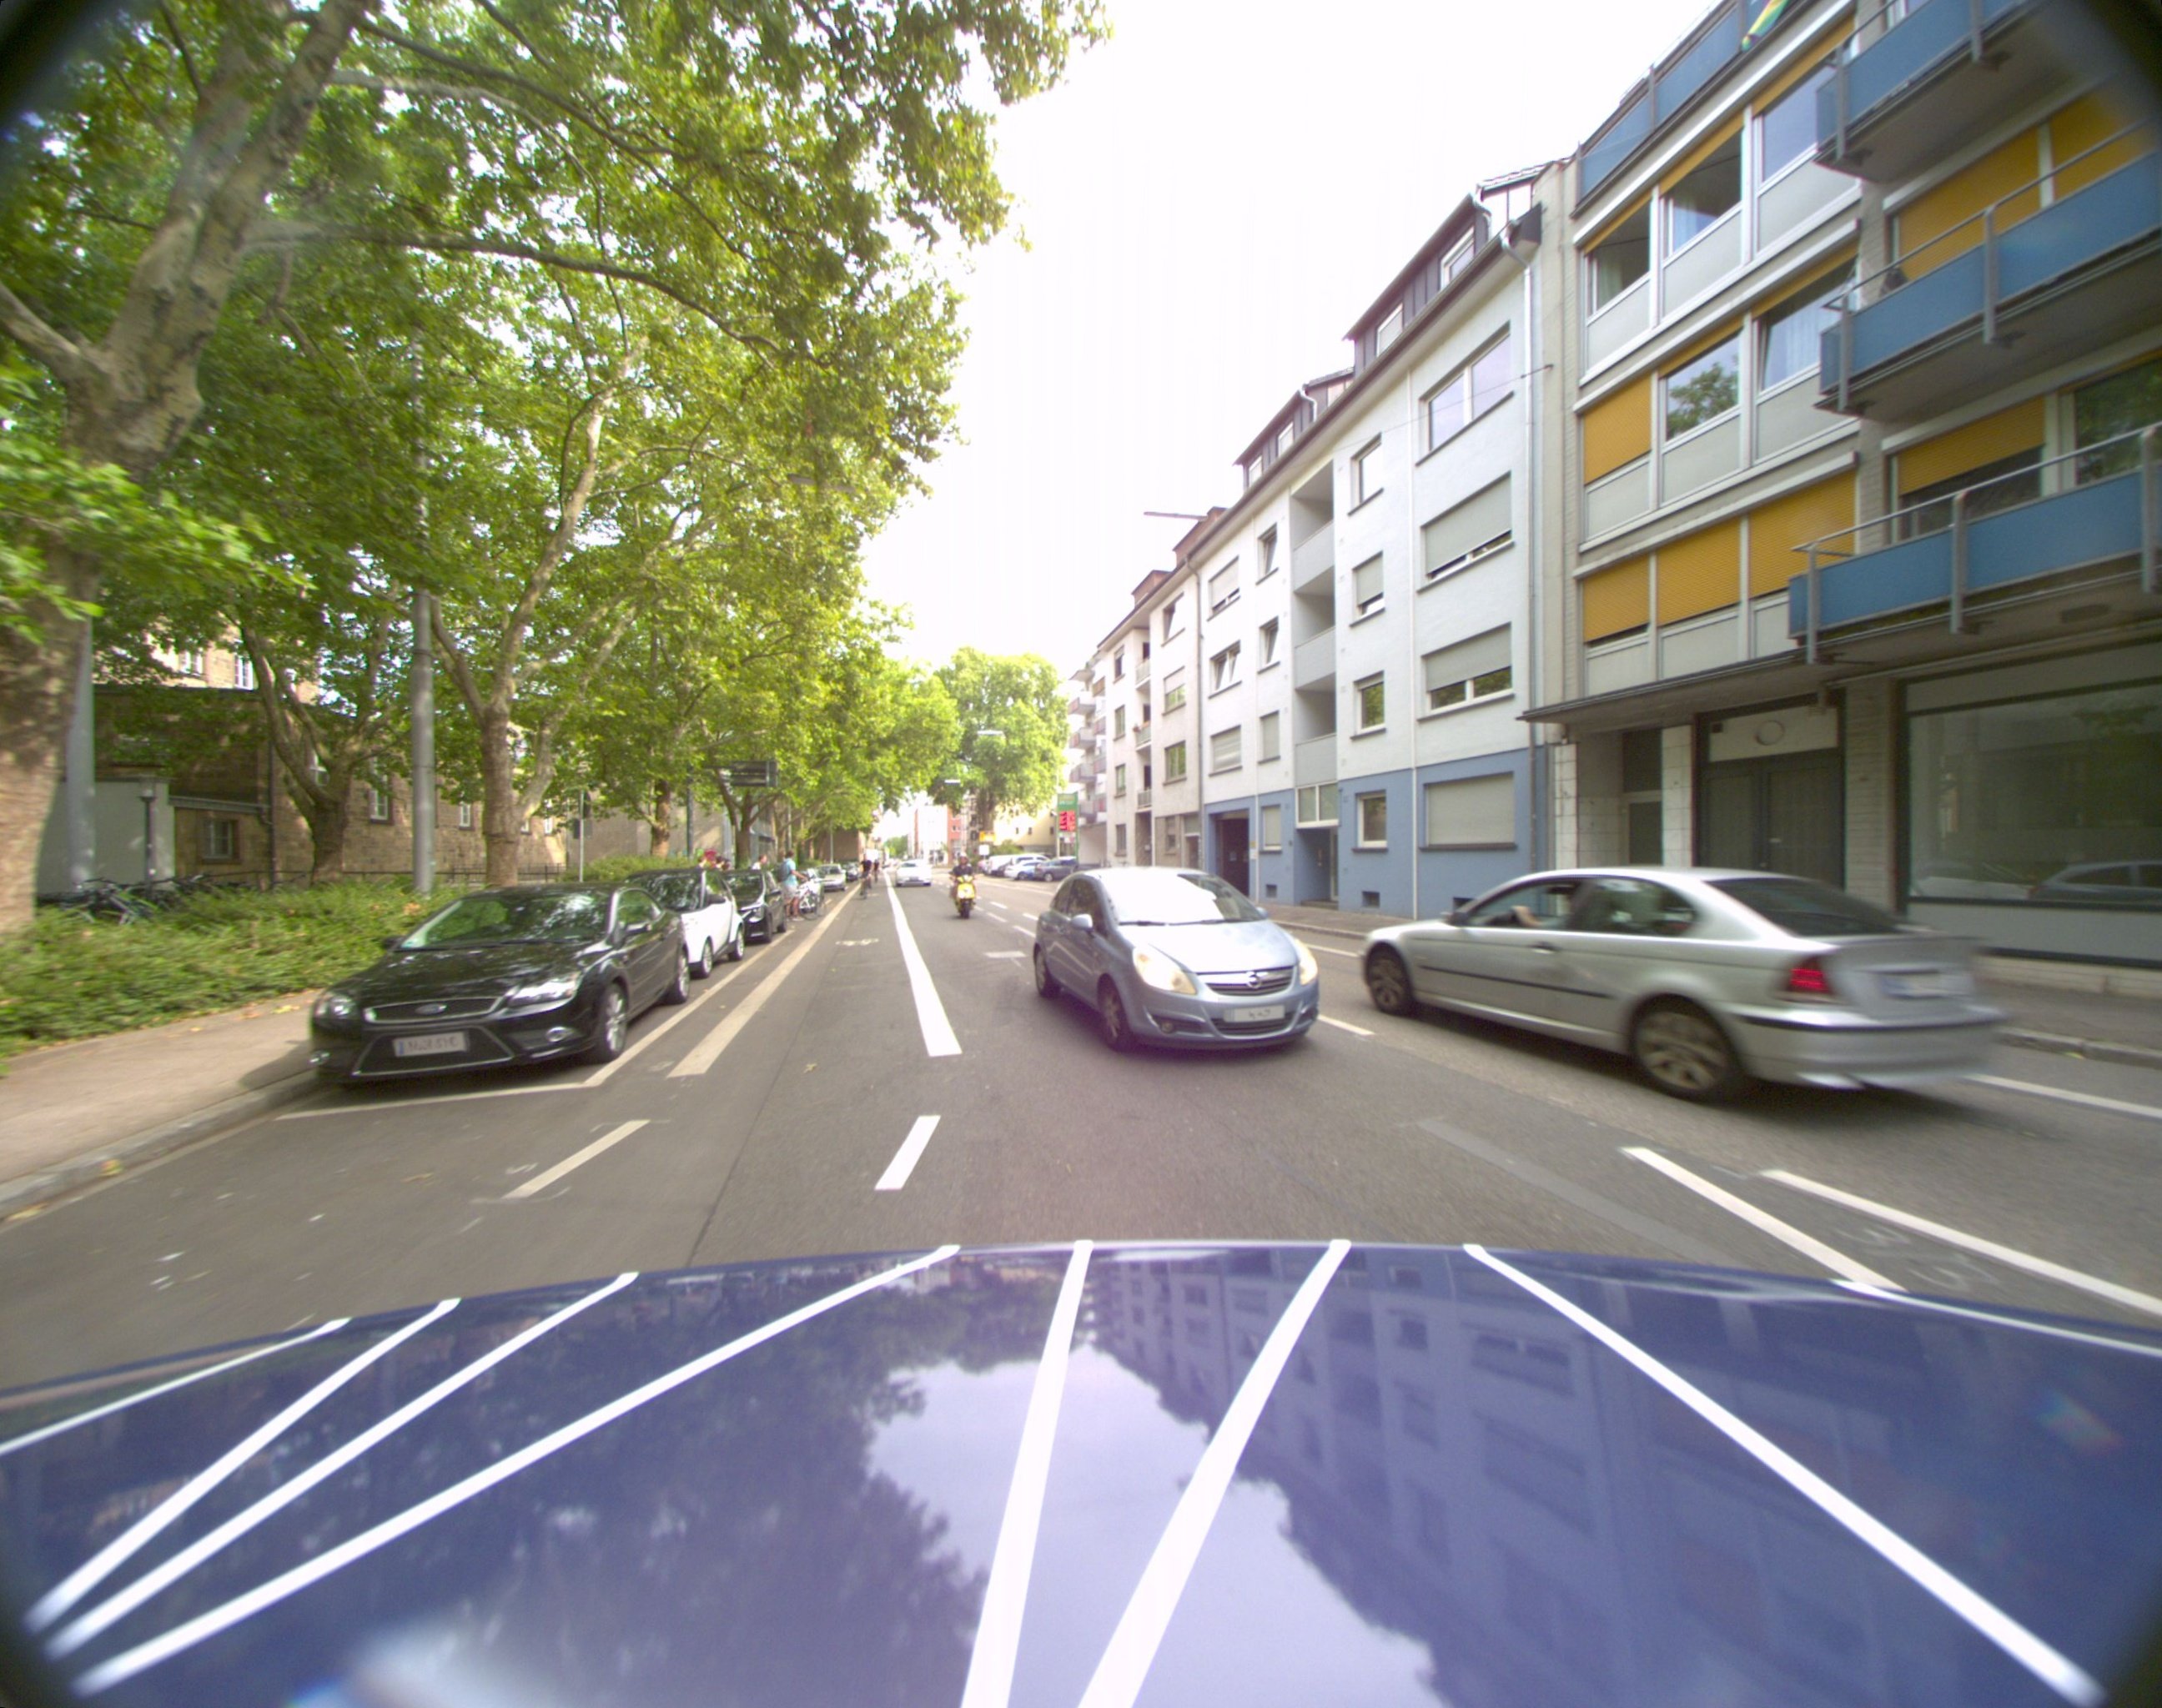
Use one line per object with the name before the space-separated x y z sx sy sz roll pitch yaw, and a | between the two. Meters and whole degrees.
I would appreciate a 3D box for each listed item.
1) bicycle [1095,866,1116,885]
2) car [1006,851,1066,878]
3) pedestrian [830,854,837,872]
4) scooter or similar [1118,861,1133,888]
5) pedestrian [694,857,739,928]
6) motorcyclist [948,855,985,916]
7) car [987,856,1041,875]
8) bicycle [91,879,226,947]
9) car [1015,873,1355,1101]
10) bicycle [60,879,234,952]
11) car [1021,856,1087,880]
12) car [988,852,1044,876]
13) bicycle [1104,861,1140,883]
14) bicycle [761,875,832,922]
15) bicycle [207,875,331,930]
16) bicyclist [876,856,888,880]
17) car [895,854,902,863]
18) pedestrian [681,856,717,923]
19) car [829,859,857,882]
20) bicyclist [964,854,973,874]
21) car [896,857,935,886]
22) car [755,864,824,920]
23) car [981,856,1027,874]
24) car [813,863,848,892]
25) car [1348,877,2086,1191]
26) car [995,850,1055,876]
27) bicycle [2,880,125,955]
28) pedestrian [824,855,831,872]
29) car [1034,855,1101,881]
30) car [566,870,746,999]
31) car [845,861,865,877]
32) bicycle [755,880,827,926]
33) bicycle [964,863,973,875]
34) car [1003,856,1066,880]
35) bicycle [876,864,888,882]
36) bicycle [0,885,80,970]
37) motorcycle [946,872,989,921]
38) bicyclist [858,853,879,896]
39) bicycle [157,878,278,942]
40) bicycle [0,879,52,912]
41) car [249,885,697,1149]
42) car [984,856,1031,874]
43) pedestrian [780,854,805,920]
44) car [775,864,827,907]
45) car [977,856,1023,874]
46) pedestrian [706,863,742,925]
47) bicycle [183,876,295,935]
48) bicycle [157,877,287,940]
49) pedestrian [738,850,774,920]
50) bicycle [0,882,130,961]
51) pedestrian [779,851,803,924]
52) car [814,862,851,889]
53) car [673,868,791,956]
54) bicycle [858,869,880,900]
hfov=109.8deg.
bicycle | 1.237 1.072 38.314 0.599 0.945 1.660 -2 0 -15
car | -3.502 0.799 58.704 4.226 1.837 1.922 -3 1 -14
pedestrian | -25.023 0.945 76.717 0.593 1.775 0.475 3 0 -16
scooter or similar | 2.092 0.942 35.744 0.351 1.214 1.200 -2 0 -15
pedestrian | -9.634 1.003 20.122 0.874 1.806 0.779 -2 1 -15
motorcyclist | -3.102 0.826 20.548 0.906 1.608 0.690 -1 1 -14
car | -6.208 1.038 70.050 4.722 1.461 1.872 -3 1 -13
bicycle | -15.818 0.990 13.072 1.385 1.111 0.510 0 0 -29
car | 0.611 0.954 7.398 1.719 1.412 4.247 -1 0 -16
bicycle | -15.391 0.981 12.586 1.703 1.111 0.621 0 0 -33
car | -1.947 0.967 53.963 4.316 1.443 1.908 -3 1 -14
car | -5.805 0.861 67.639 4.632 1.848 1.947 -3 1 -13
bicycle | 2.163 0.948 40.140 1.778 1.111 0.452 -2 1 -15
bicycle | -8.118 1.249 21.735 1.798 1.210 0.552 -2 1 -32
bicycle | -17.064 1.003 16.007 1.681 1.111 0.603 0 0 -21
bicyclist | -13.702 0.959 52.301 0.749 1.590 0.818 -2 1 -14
car | -52.754 1.370 219.645 2.001 2.546 4.793 -1 0 -14
pedestrian | -10.845 0.980 21.616 0.723 1.844 0.702 -2 1 -15
car | -18.382 1.212 58.764 1.928 1.612 4.475 -3 0 -16
bicyclist | -10.612 0.914 71.530 0.654 1.800 1.044 -2 1 -14
car | -9.802 0.979 44.769 2.003 1.556 4.545 -1 0 -15
car | -9.335 1.141 24.628 1.687 1.507 4.537 -3 1 -17
car | -7.755 1.091 76.481 4.377 1.540 1.730 -3 1 -13
car | -13.551 1.226 40.969 1.649 1.439 3.876 -3 0 -19
car | 4.084 0.940 5.883 1.764 1.419 4.093 1 0 -16
car | -4.808 0.789 65.352 4.784 1.923 1.991 -3 1 -13
bicycle | -16.554 1.001 12.407 0.493 1.111 1.435 0 0 -20
pedestrian | -25.702 0.963 77.067 0.503 1.775 0.527 3 0 -16
car | -0.931 0.909 51.806 4.166 1.505 1.835 -3 1 -14
car | -6.080 1.062 11.167 1.541 1.534 2.596 -2 1 -12
car | -21.836 1.423 73.452 1.604 1.496 4.435 -3 0 -14
bicycle | -7.822 1.310 20.520 1.742 1.099 0.551 -2 1 -26
bicycle | -10.621 1.419 71.616 0.648 1.008 2.074 -2 1 -15
car | -3.442 1.019 55.936 4.287 1.443 1.872 -3 1 -14
bicycle | -13.701 1.309 52.296 0.764 1.162 1.947 -2 0 -14
bicycle | -15.108 0.981 10.259 1.922 1.111 0.672 0 0 -15
motorcycle | -3.128 1.112 20.650 0.906 1.190 2.627 -1 0 -14
bicyclist | -8.670 0.838 31.074 0.765 1.699 0.916 -2 1 -14
bicycle | -15.598 0.991 13.758 1.384 1.111 0.468 0 0 -22
bicycle | -29.989 1.168 21.182 1.625 0.873 0.508 -1 2 -10
car | -4.974 1.112 7.094 1.704 1.417 4.415 -2 1 -17
car | -7.234 1.095 74.421 4.281 1.502 1.717 -3 1 -13
pedestrian | -8.335 0.939 21.957 0.522 1.834 0.743 -2 1 -29
car | -10.944 1.184 29.865 1.593 1.441 3.800 -3 1 -17
car | -8.411 1.090 78.699 4.535 1.596 1.752 -3 1 -13
pedestrian | -9.807 1.082 20.880 0.723 1.648 0.654 -2 1 -15
bicycle | -16.656 1.001 15.058 1.451 1.111 0.468 0 0 -18
bicycle | -15.933 0.995 14.129 1.546 1.111 0.468 0 0 -22
pedestrian | -9.528 0.893 22.306 0.796 1.986 0.749 -2 1 -15
bicycle | -15.637 0.984 11.244 1.922 1.111 0.672 0 0 -15
pedestrian | -7.926 0.897 20.748 0.477 1.923 0.743 -2 1 -25
car | -14.785 1.231 45.429 1.761 1.439 4.213 -3 0 -14
car | -7.135 1.099 15.860 1.534 1.493 3.655 -2 1 -14
bicycle | -8.647 1.227 31.029 0.764 1.162 1.947 -2 0 -14
